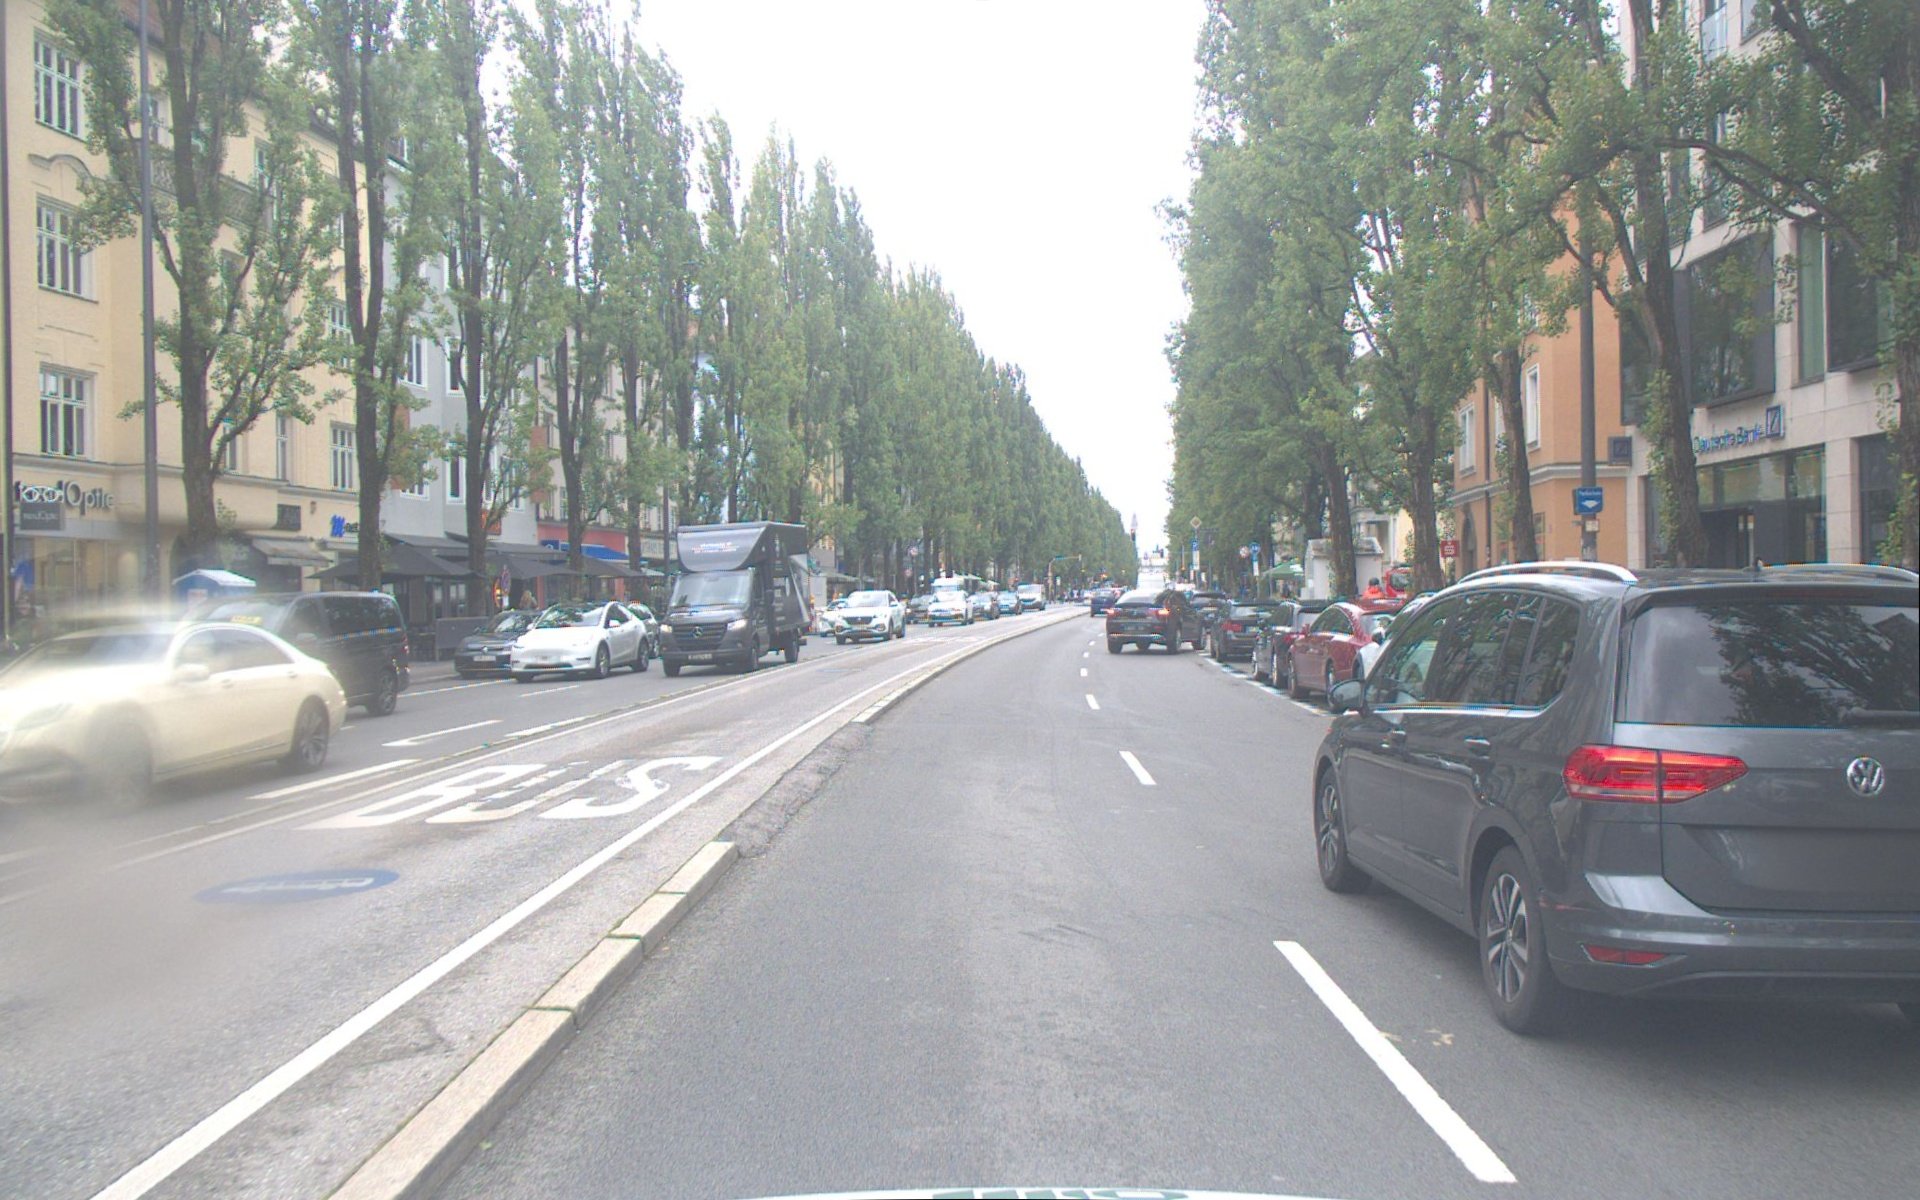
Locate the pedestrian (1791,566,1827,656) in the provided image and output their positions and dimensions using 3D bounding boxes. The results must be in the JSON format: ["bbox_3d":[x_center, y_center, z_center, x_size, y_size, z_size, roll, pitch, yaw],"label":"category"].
[{"bbox_3d":[14.508,0.187,28.261,0.493,1.517,0.546,-1,0,31],"label":"pedestrian"}]

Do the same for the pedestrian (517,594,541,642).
[{"bbox_3d":[-16.024,0.666,61.511,0.624,1.729,0.648,-1,0,6],"label":"pedestrian"}]

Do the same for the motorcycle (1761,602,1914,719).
[{"bbox_3d":[10.931,0.728,20.658,0.675,1.380,1.633,-2,0,-20],"label":"motorcycle"}]

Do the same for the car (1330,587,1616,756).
[{"bbox_3d":[5.359,0.663,17.947,1.772,1.526,4.807,-2,0,3],"label":"car"}]

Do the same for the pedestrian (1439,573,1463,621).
[{"bbox_3d":[16.986,-0.102,57.238,0.658,1.641,0.641,-2,0,9],"label":"pedestrian"}]

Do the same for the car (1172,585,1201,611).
[{"bbox_3d":[15.065,-0.158,110.295,1.766,1.624,4.003,-1,0,6],"label":"car"}]

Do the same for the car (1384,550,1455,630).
[{"bbox_3d":[14.630,-0.337,52.524,1.861,2.368,4.827,-2,0,18],"label":"car"}]

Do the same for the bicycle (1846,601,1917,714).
[{"bbox_3d":[10.554,0.640,18.919,0.536,1.210,1.450,-2,0,35],"label":"bicycle"}]

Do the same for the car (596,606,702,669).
[{"bbox_3d":[-9.018,1.067,48.246,1.823,1.658,4.171,-2,0,7],"label":"car"}]

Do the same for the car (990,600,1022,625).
[{"bbox_3d":[2.900,0.770,102.875,1.675,1.438,3.725,-2,0,6],"label":"car"}]

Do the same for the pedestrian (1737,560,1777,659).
[{"bbox_3d":[13.607,0.156,28.227,0.540,1.666,0.557,-1,0,31],"label":"pedestrian"}]

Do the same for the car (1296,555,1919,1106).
[{"bbox_3d":[2.775,0.681,7.066,1.725,1.642,4.182,0,0,-2],"label":"car"}]

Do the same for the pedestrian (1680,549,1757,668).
[{"bbox_3d":[12.511,0.142,27.306,0.800,1.902,0.939,-2,0,3],"label":"pedestrian"}]

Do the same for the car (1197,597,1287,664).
[{"bbox_3d":[6.623,0.680,39.233,1.697,1.418,4.435,-2,0,5],"label":"car"}]

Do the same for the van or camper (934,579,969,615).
[{"bbox_3d":[-0.606,-0.224,116.847,1.951,2.501,4.254,-1,0,6],"label":"van or camper"}]

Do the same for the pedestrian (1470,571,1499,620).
[{"bbox_3d":[18.062,-0.157,56.940,0.803,1.641,0.780,-2,0,9],"label":"pedestrian"}]

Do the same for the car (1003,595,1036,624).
[{"bbox_3d":[4.477,0.700,123.586,1.951,1.968,4.921,-3,-1,6],"label":"car"}]

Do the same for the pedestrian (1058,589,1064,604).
[{"bbox_3d":[11.556,-0.400,189.497,0.541,1.746,0.493,-2,0,7],"label":"pedestrian"}]

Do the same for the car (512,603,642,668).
[{"bbox_3d":[-9.926,0.897,43.205,1.898,1.519,4.299,-1,0,7],"label":"car"}]

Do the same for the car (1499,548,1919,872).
[{"bbox_3d":[5.246,0.608,11.155,1.884,1.730,4.651,0,-1,3],"label":"car"}]

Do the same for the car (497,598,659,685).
[{"bbox_3d":[-8.239,0.858,36.146,1.951,1.680,4.639,-2,0,6],"label":"car"}]

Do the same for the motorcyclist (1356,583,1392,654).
[{"bbox_3d":[8.661,0.381,34.605,0.552,1.431,0.766,-2,0,3],"label":"motorcyclist"}]

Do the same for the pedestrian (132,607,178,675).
[{"bbox_3d":[-19.418,0.986,39.898,0.620,1.589,0.816,-1,0,8],"label":"pedestrian"}]

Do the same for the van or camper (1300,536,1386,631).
[{"bbox_3d":[13.484,-0.575,58.501,2.408,3.166,4.719,-2,0,7],"label":"van or camper"}]

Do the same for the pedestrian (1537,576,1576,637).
[{"bbox_3d":[15.589,0.168,43.216,0.596,1.578,0.710,-2,0,-21],"label":"pedestrian"}]

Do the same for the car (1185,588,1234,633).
[{"bbox_3d":[9.286,0.359,61.812,1.589,1.592,4.374,-1,0,6],"label":"car"}]

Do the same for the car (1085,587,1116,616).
[{"bbox_3d":[8.134,0.119,95.591,1.722,1.648,3.749,0,-1,6],"label":"car"}]

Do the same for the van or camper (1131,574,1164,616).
[{"bbox_3d":[11.787,-0.283,104.169,1.991,2.519,4.002,-1,-1,6],"label":"van or camper"}]

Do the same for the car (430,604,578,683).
[{"bbox_3d":[-10.528,0.962,38.501,1.823,1.658,4.171,-2,0,7],"label":"car"}]

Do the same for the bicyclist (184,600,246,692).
[{"bbox_3d":[-13.342,0.812,29.651,0.486,1.608,1.108,-2,0,6],"label":"bicyclist"}]

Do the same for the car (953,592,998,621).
[{"bbox_3d":[0.896,0.349,91.115,1.951,1.457,4.775,-2,0,6],"label":"car"}]

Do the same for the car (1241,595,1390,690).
[{"bbox_3d":[5.982,0.670,28.310,1.808,1.453,4.427,-1,0,3],"label":"car"}]

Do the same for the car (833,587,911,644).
[{"bbox_3d":[-2.877,0.463,54.984,1.821,1.741,4.539,-2,0,6],"label":"car"}]

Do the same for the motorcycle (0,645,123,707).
[{"bbox_3d":[-15.982,1.337,29.275,2.021,1.054,0.484,0,-1,-14],"label":"motorcycle"}]

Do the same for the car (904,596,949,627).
[{"bbox_3d":[-1.791,0.638,89.005,1.809,1.592,4.215,-2,-1,7],"label":"car"}]

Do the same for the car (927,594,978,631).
[{"bbox_3d":[-0.341,0.574,78.742,1.898,1.671,4.467,-2,0,6],"label":"car"}]

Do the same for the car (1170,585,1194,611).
[{"bbox_3d":[17.072,-0.137,127.407,1.766,2.027,4.003,0,-1,6],"label":"car"}]

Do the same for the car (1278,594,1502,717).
[{"bbox_3d":[5.792,0.680,22.897,1.891,1.475,4.805,-1,0,1],"label":"car"}]

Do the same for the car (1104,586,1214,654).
[{"bbox_3d":[5.322,0.494,43.770,1.842,1.670,4.584,-1,0,20],"label":"car"}]

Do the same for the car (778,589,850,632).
[{"bbox_3d":[-5.512,0.381,62.981,1.898,1.519,4.460,-2,0,6],"label":"car"}]

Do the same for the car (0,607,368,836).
[{"bbox_3d":[-7.400,0.945,14.816,1.952,1.616,5.198,-3,0,4],"label":"car"}]

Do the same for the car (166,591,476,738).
[{"bbox_3d":[-9.523,0.865,25.311,1.951,1.896,5.715,-3,0,6],"label":"car"}]

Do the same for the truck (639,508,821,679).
[{"bbox_3d":[-4.970,-0.144,37.121,2.242,3.381,7.162,-2,0,6],"label":"truck"}]

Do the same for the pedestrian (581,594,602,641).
[{"bbox_3d":[-14.981,0.719,67.269,0.624,1.894,0.648,-1,0,6],"label":"pedestrian"}]
